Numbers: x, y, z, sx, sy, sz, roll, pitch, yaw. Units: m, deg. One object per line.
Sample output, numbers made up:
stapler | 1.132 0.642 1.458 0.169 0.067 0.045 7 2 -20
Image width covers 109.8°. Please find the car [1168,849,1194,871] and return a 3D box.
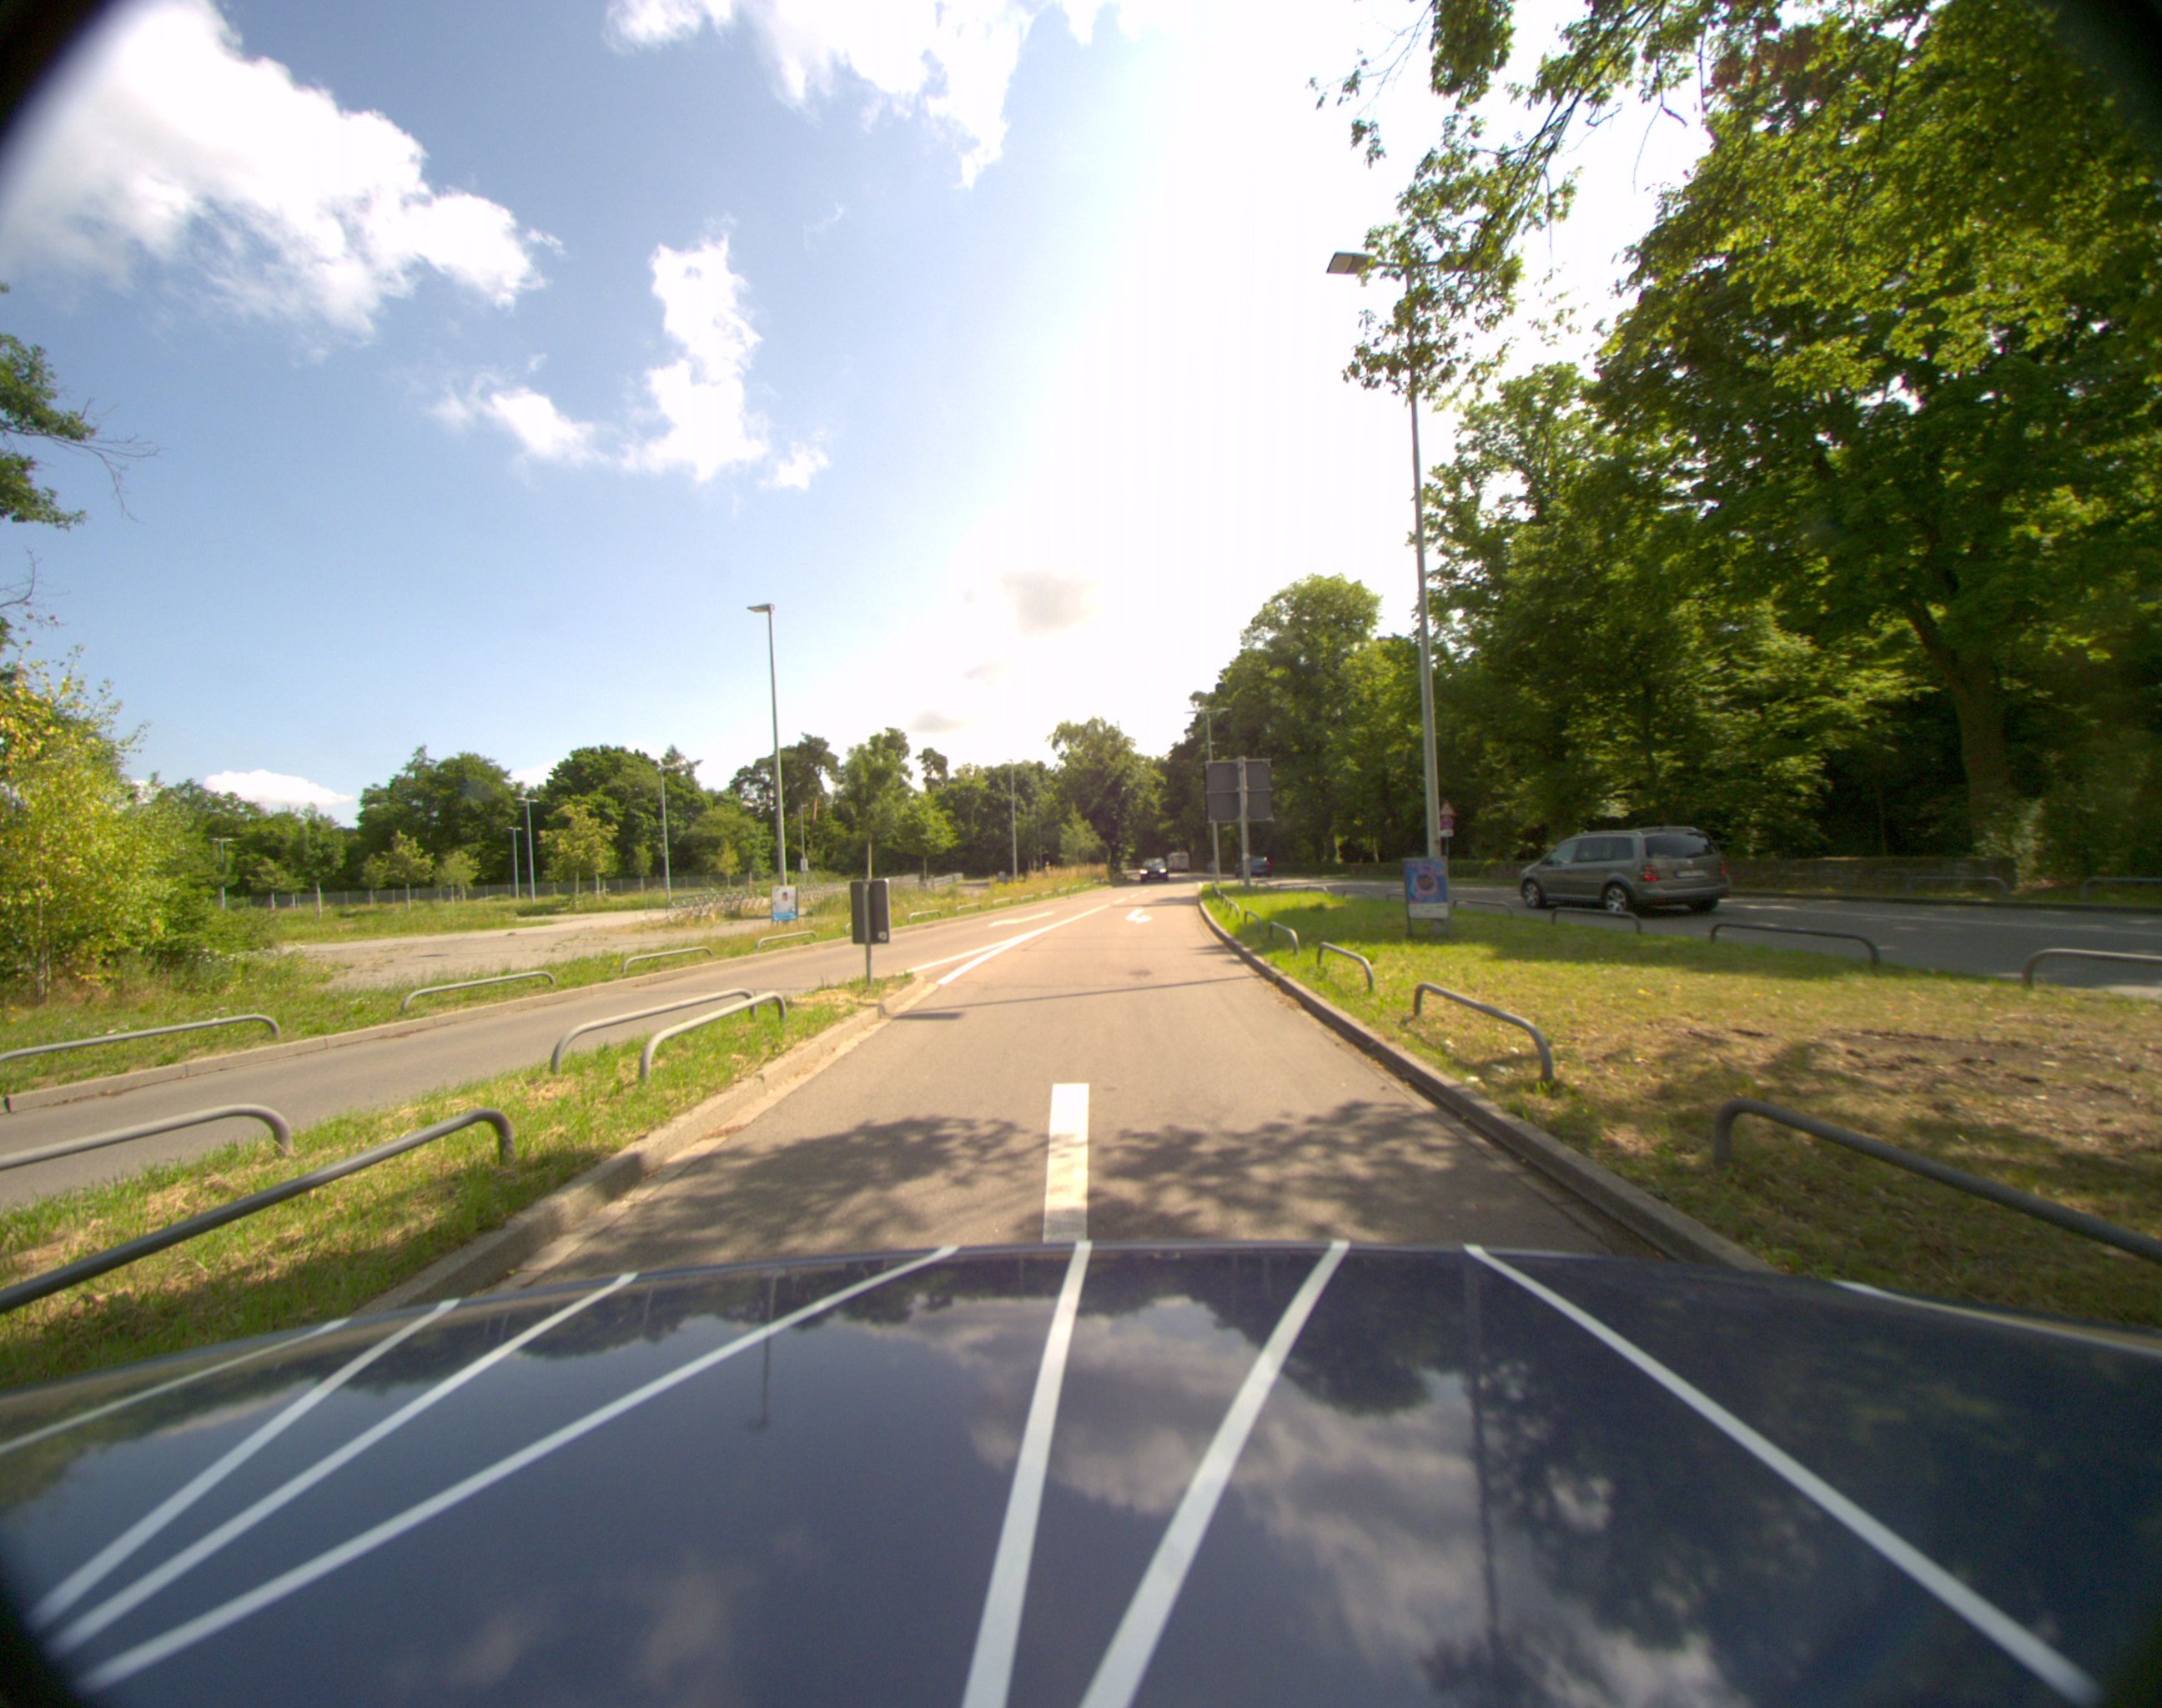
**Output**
car | 11.920 0.640 90.819 1.980 2.417 5.361 -4 1 -2

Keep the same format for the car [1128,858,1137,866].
car | 10.532 1.571 156.216 1.655 1.461 3.871 -2 1 2

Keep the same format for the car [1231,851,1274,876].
car | 11.406 0.594 50.732 1.699 1.438 4.065 -4 1 -3

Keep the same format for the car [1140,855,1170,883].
car | 5.409 1.036 55.045 1.979 1.754 4.709 -3 1 6

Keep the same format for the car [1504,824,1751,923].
car | 10.954 0.380 15.709 1.766 1.620 4.298 -5 -1 -3
